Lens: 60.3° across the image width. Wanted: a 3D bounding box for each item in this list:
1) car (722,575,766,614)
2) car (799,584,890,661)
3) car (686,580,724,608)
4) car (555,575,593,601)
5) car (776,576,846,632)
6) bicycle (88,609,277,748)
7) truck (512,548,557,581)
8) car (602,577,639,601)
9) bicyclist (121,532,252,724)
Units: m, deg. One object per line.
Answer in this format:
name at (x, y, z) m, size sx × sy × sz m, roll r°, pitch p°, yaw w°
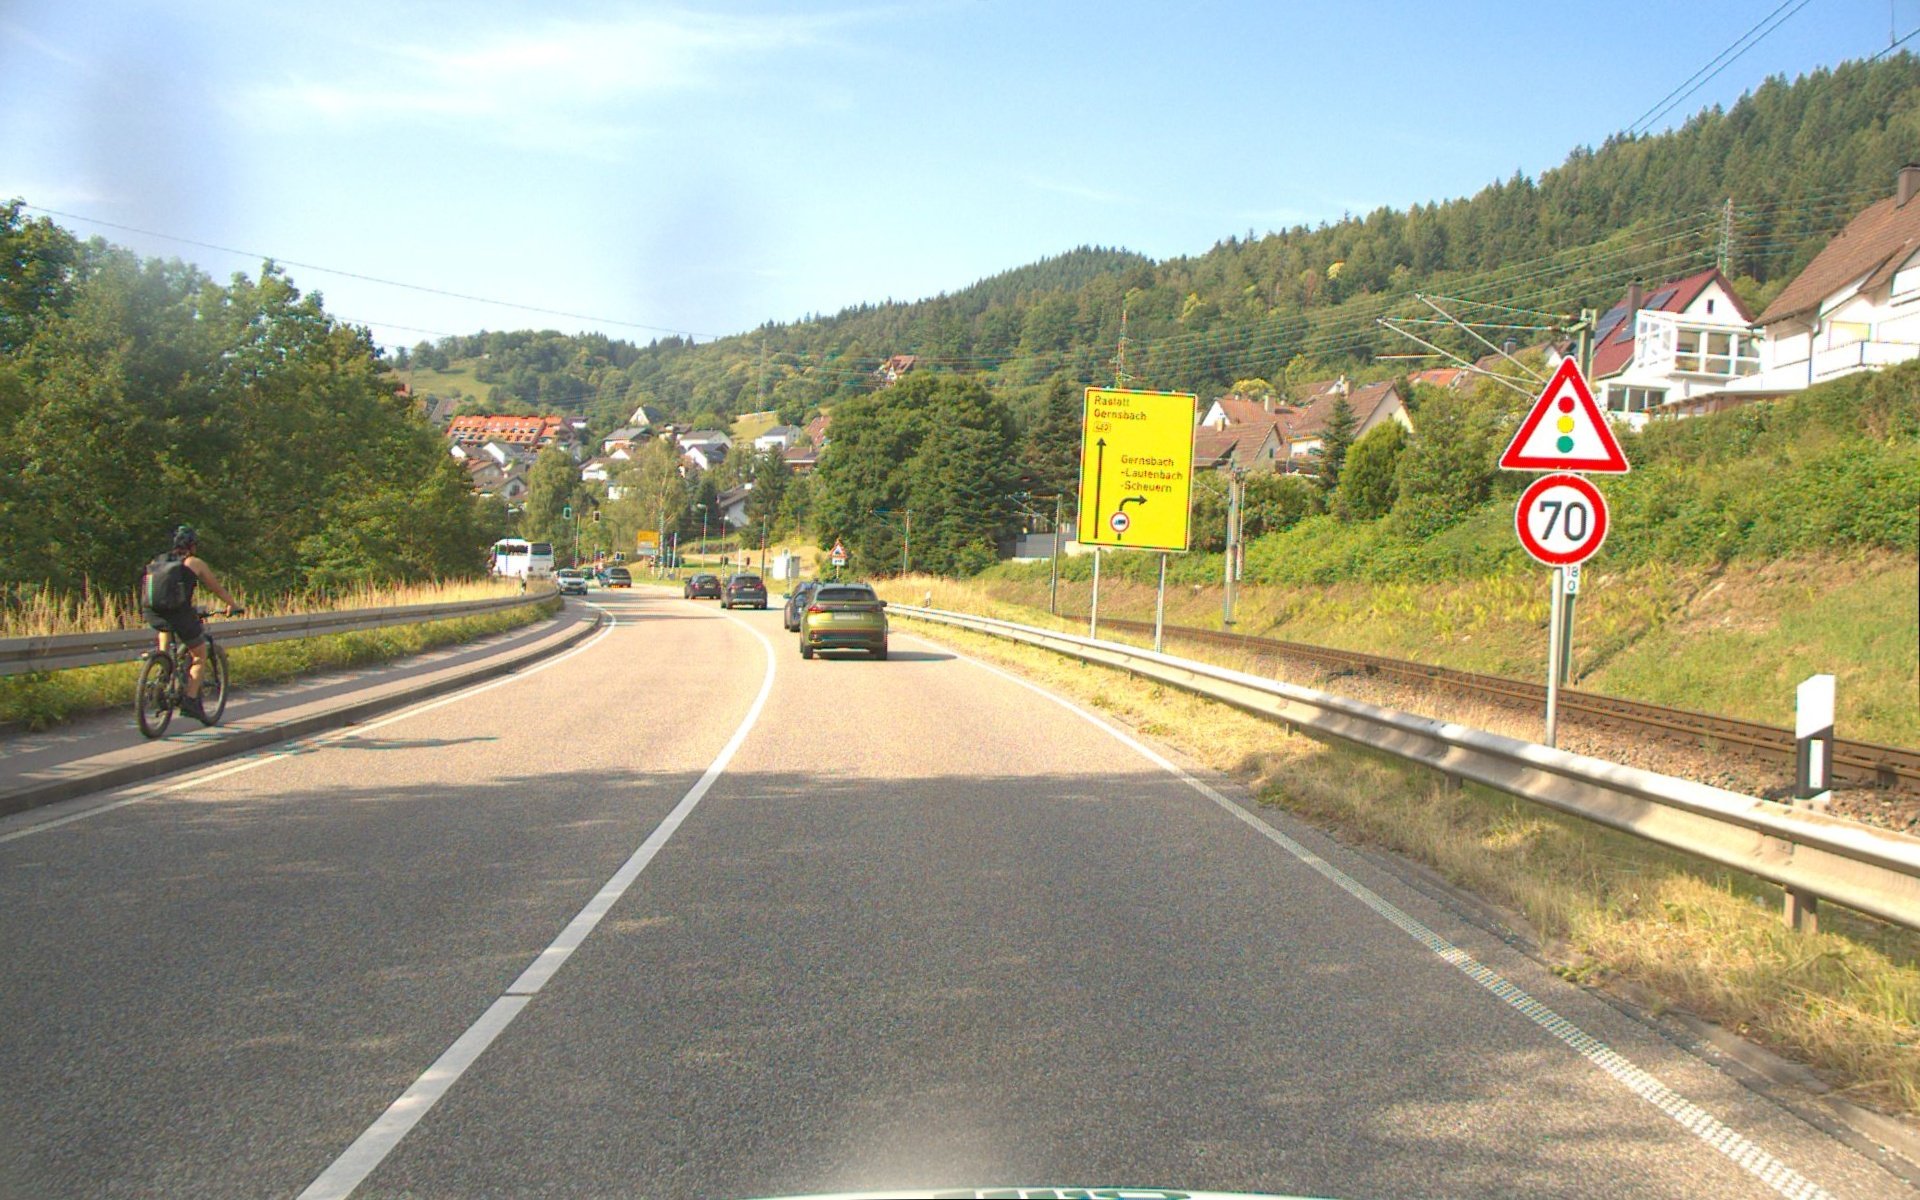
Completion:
car at (-10.262, -0.259, 78.380) m, size 1.845 × 1.716 × 3.992 m, roll 3°, pitch 0°, yaw -9°
car at (-2.427, 0.417, 34.014) m, size 1.682 × 1.480 × 3.994 m, roll -1°, pitch 1°, yaw -7°
car at (-15.163, -0.358, 98.082) m, size 1.818 × 1.553 × 3.648 m, roll 2°, pitch 0°, yaw -15°
car at (-25.115, -0.795, 107.553) m, size 1.964 × 1.658 × 3.978 m, roll 1°, pitch 0°, yaw -19°
car at (-4.459, 0.106, 49.041) m, size 1.638 × 1.586 × 3.988 m, roll 0°, pitch 1°, yaw -12°
bicycle at (-6.939, 0.661, 14.890) m, size 0.546 × 1.063 × 2.229 m, roll 5°, pitch 1°, yaw 0°
truck at (-41.524, -3.472, 161.425) m, size 2.684 × 3.137 × 6.047 m, roll 0°, pitch 2°, yaw -30°
car at (-27.535, -0.887, 134.063) m, size 2.036 × 1.843 × 3.970 m, roll 5°, pitch -2°, yaw -24°
bicyclist at (-6.904, 0.233, 14.810) m, size 0.546 × 1.614 × 1.036 m, roll 5°, pitch 1°, yaw 0°
